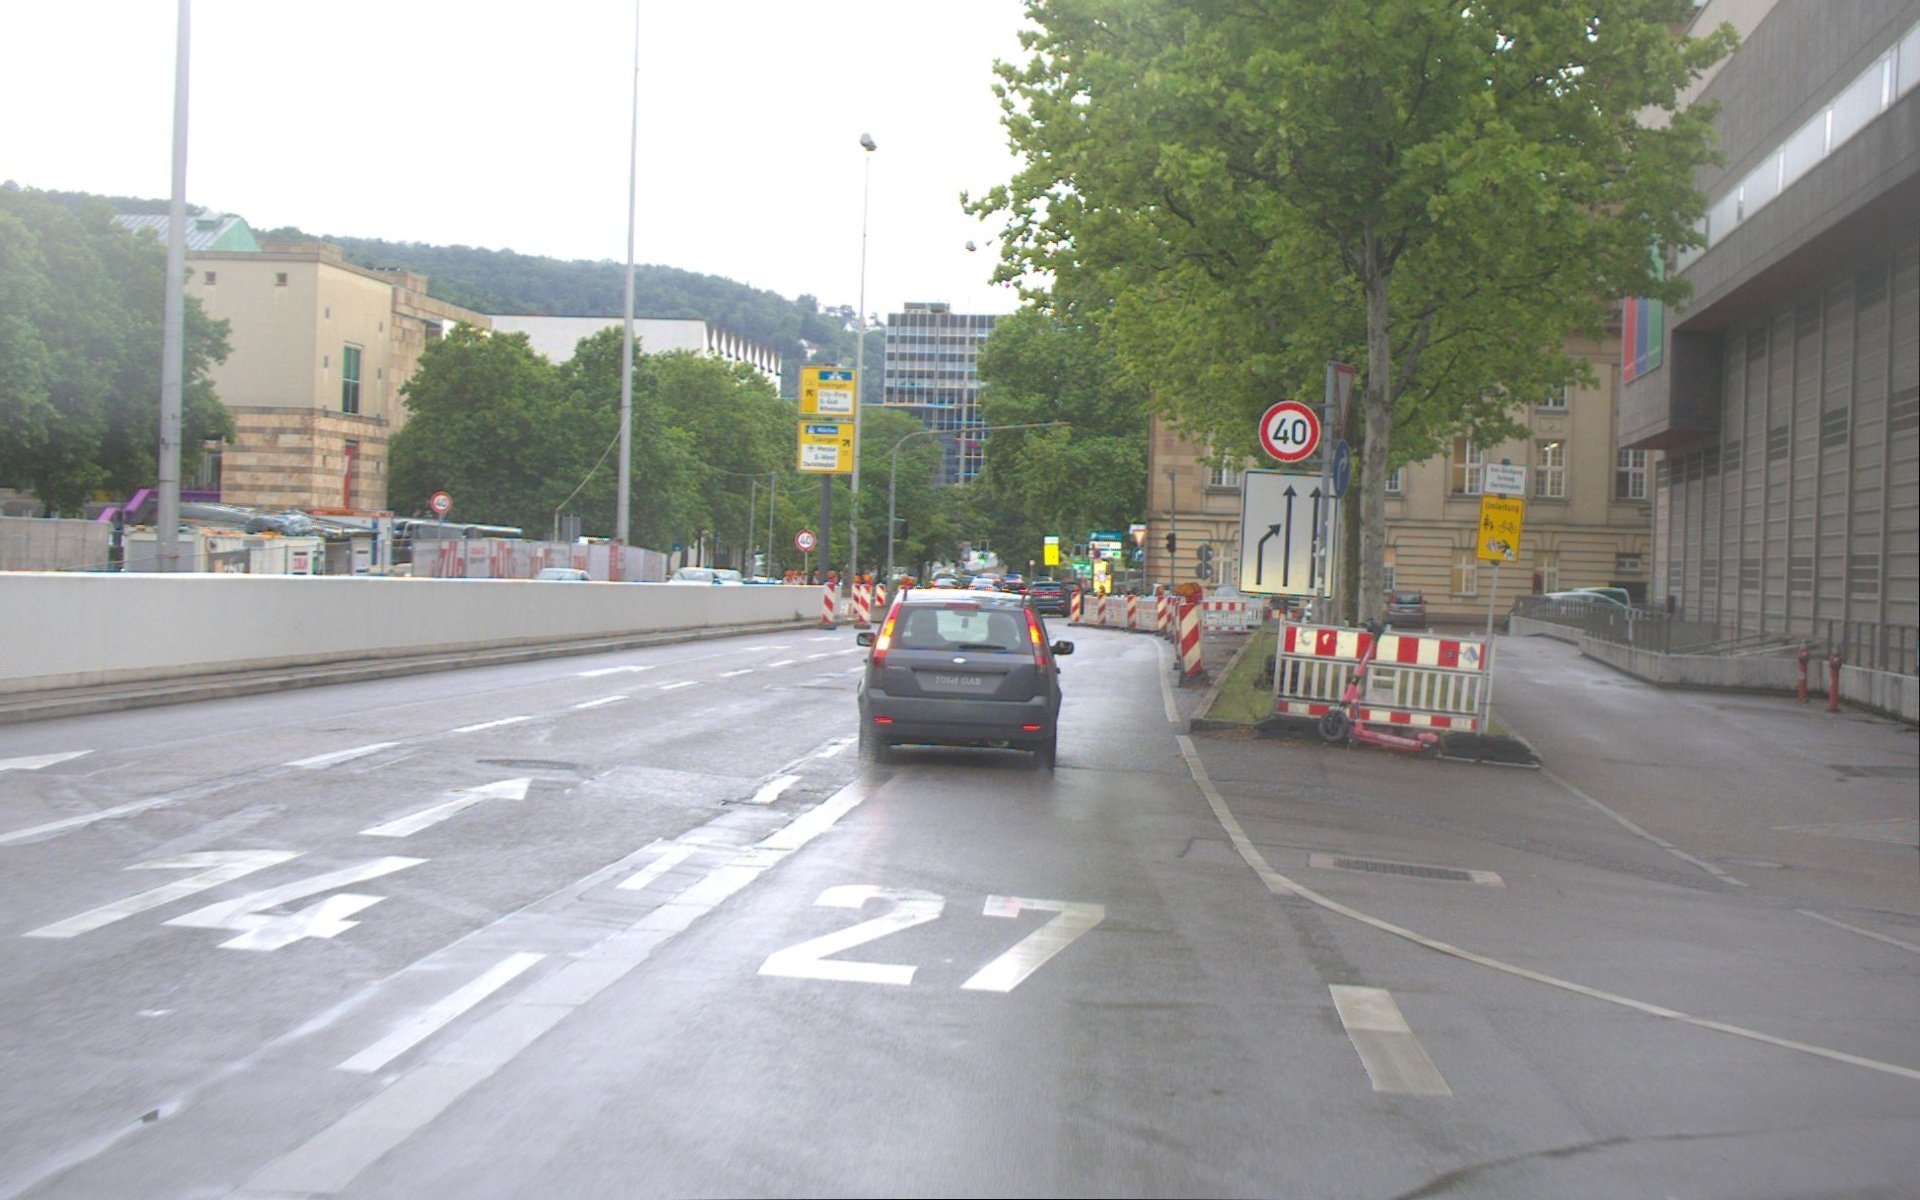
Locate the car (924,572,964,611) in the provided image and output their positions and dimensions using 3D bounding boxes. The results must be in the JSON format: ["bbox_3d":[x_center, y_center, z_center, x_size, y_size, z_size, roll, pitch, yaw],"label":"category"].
[{"bbox_3d":[-0.905,-0.467,194.105,1.993,2.007,4.000,5,-1,-1],"label":"car"}]

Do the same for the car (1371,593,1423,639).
[{"bbox_3d":[18.221,0.673,143.191,1.994,1.703,3.998,4,-1,8],"label":"car"}]

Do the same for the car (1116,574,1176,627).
[{"bbox_3d":[6.677,0.007,123.394,1.994,1.702,4.000,4,1,3],"label":"car"}]

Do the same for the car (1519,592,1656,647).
[{"bbox_3d":[19.501,0.611,106.925,3.987,1.554,1.933,1,-2,4],"label":"car"}]

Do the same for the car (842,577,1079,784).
[{"bbox_3d":[0.065,0.629,29.304,1.670,1.422,3.757,5,2,4],"label":"car"}]

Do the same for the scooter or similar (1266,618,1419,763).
[{"bbox_3d":[3.669,0.870,33.041,1.356,1.281,0.619,4,-1,5],"label":"scooter or similar"}]

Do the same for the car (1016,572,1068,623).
[{"bbox_3d":[3.516,-0.122,146.942,1.994,2.007,4.000,4,1,3],"label":"car"}]

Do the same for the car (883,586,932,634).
[{"bbox_3d":[-1.579,0.294,103.308,1.385,1.382,3.067,2,0,-1],"label":"car"}]
